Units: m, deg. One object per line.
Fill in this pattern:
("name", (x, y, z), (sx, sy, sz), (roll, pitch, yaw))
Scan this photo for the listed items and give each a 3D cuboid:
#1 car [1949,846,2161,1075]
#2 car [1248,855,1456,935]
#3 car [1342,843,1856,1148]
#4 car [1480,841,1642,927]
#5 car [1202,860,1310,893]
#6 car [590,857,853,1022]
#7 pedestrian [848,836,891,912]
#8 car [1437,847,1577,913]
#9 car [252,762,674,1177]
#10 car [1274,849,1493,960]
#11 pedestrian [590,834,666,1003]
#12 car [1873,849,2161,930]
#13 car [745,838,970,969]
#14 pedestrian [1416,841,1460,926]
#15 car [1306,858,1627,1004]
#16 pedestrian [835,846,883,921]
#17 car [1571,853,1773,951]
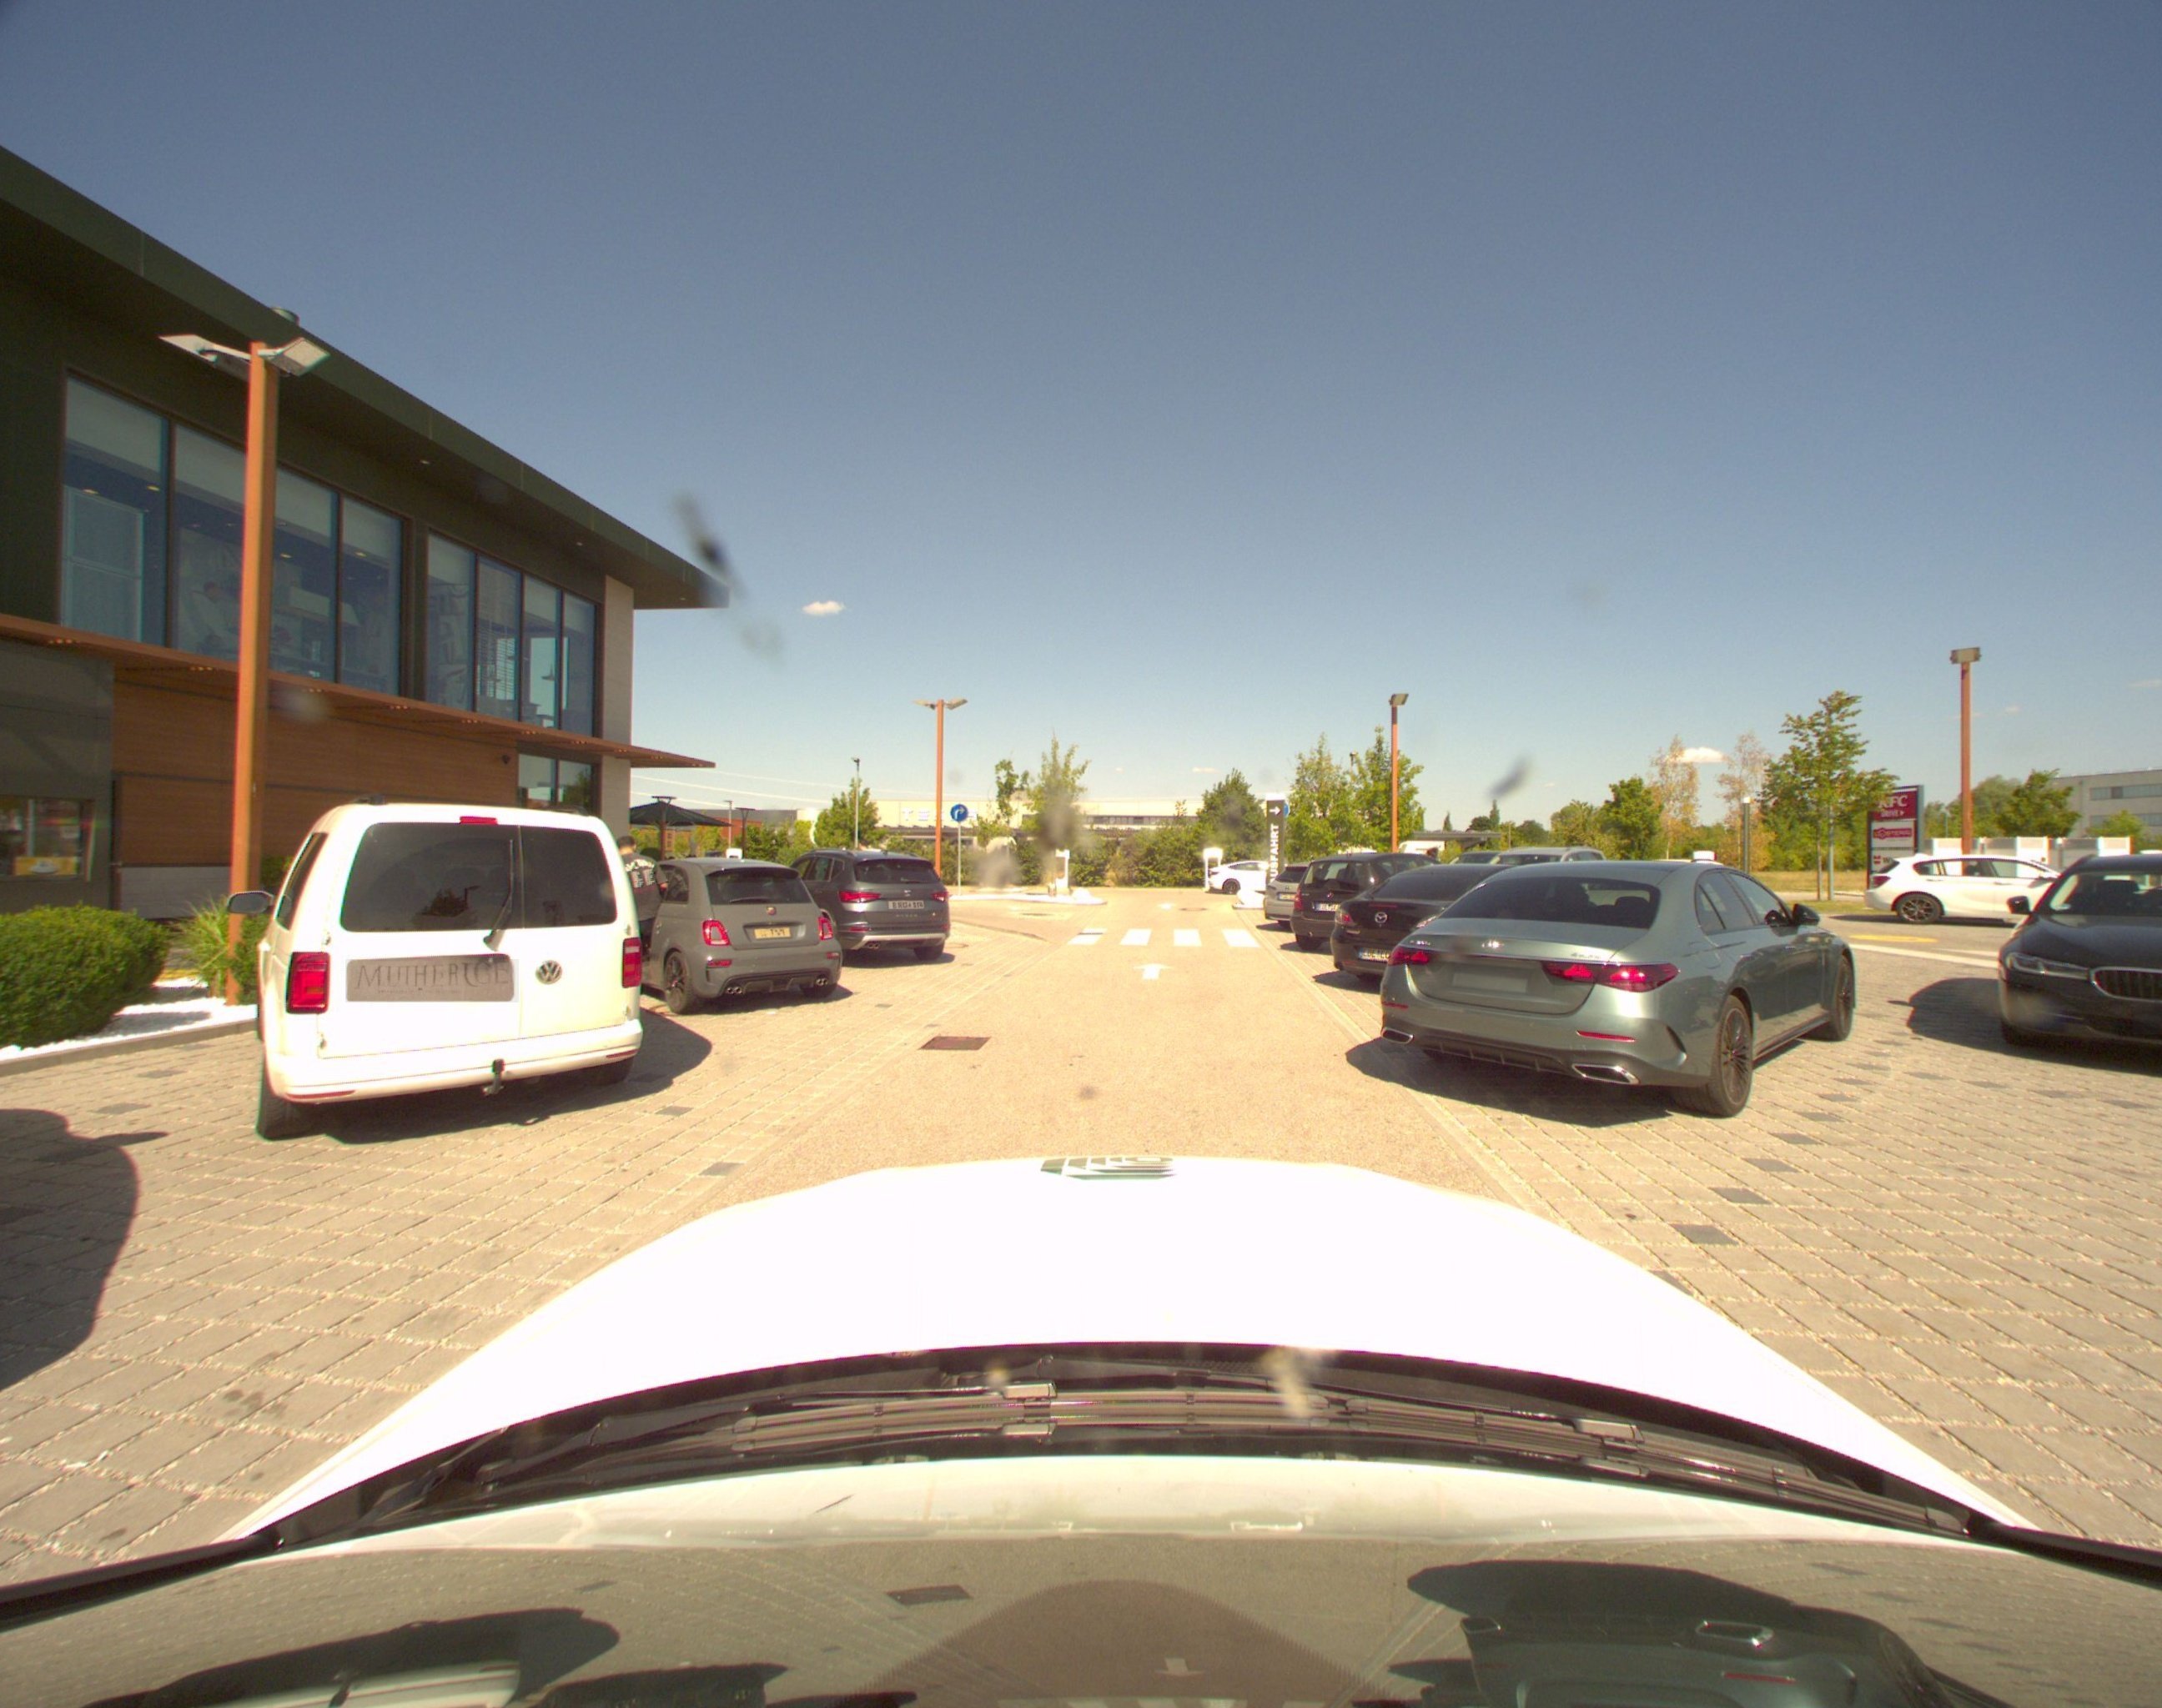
("car", (8.903, 0.713, 6.724), (4.438, 1.511, 1.961), (0, -1, -38))
("car", (5.856, 0.785, 17.379), (4.683, 1.447, 1.816), (-1, 0, -36))
("car", (4.145, 0.716, 6.192), (4.564, 1.511, 1.866), (0, -1, -38))
("car", (10.363, 0.568, 17.465), (4.088, 1.640, 1.727), (0, 0, -40))
("car", (7.419, 0.929, 34.853), (4.407, 1.377, 1.827), (0, -1, 9))
("car", (-4.142, 0.780, 9.153), (3.373, 1.482, 1.577), (0, 0, 45))
("pedestrian", (-5.042, 0.471, 19.446), (0.798, 1.768, 0.896), (0, 0, -2))
("car", (11.252, 0.612, 21.405), (4.213, 1.537, 1.873), (-1, 0, -41))
("car", (-4.622, 0.547, 5.833), (4.093, 1.921, 1.769), (0, -1, 44))
("car", (5.200, 0.742, 13.769), (4.021, 1.593, 1.790), (0, -1, -41))
("pedestrian", (-4.707, 0.641, 8.466), (0.616, 1.685, 0.438), (0, -1, -39))
("car", (18.705, 0.644, 16.199), (1.854, 1.425, 4.135), (0, -1, -42))
("car", (-3.606, 0.610, 12.615), (1.800, 1.603, 4.179), (0, 2, -39))
("pedestrian", (7.365, 0.596, 16.796), (0.565, 1.713, 0.605), (0, -1, -31))
("car", (4.818, 0.774, 9.986), (4.093, 1.449, 1.809), (0, -1, -36))
("pedestrian", (-4.780, 0.625, 17.581), (0.721, 1.584, 0.744), (0, 0, 16))
("car", (10.108, 0.699, 13.835), (4.102, 1.408, 1.773), (0, 0, -39))
